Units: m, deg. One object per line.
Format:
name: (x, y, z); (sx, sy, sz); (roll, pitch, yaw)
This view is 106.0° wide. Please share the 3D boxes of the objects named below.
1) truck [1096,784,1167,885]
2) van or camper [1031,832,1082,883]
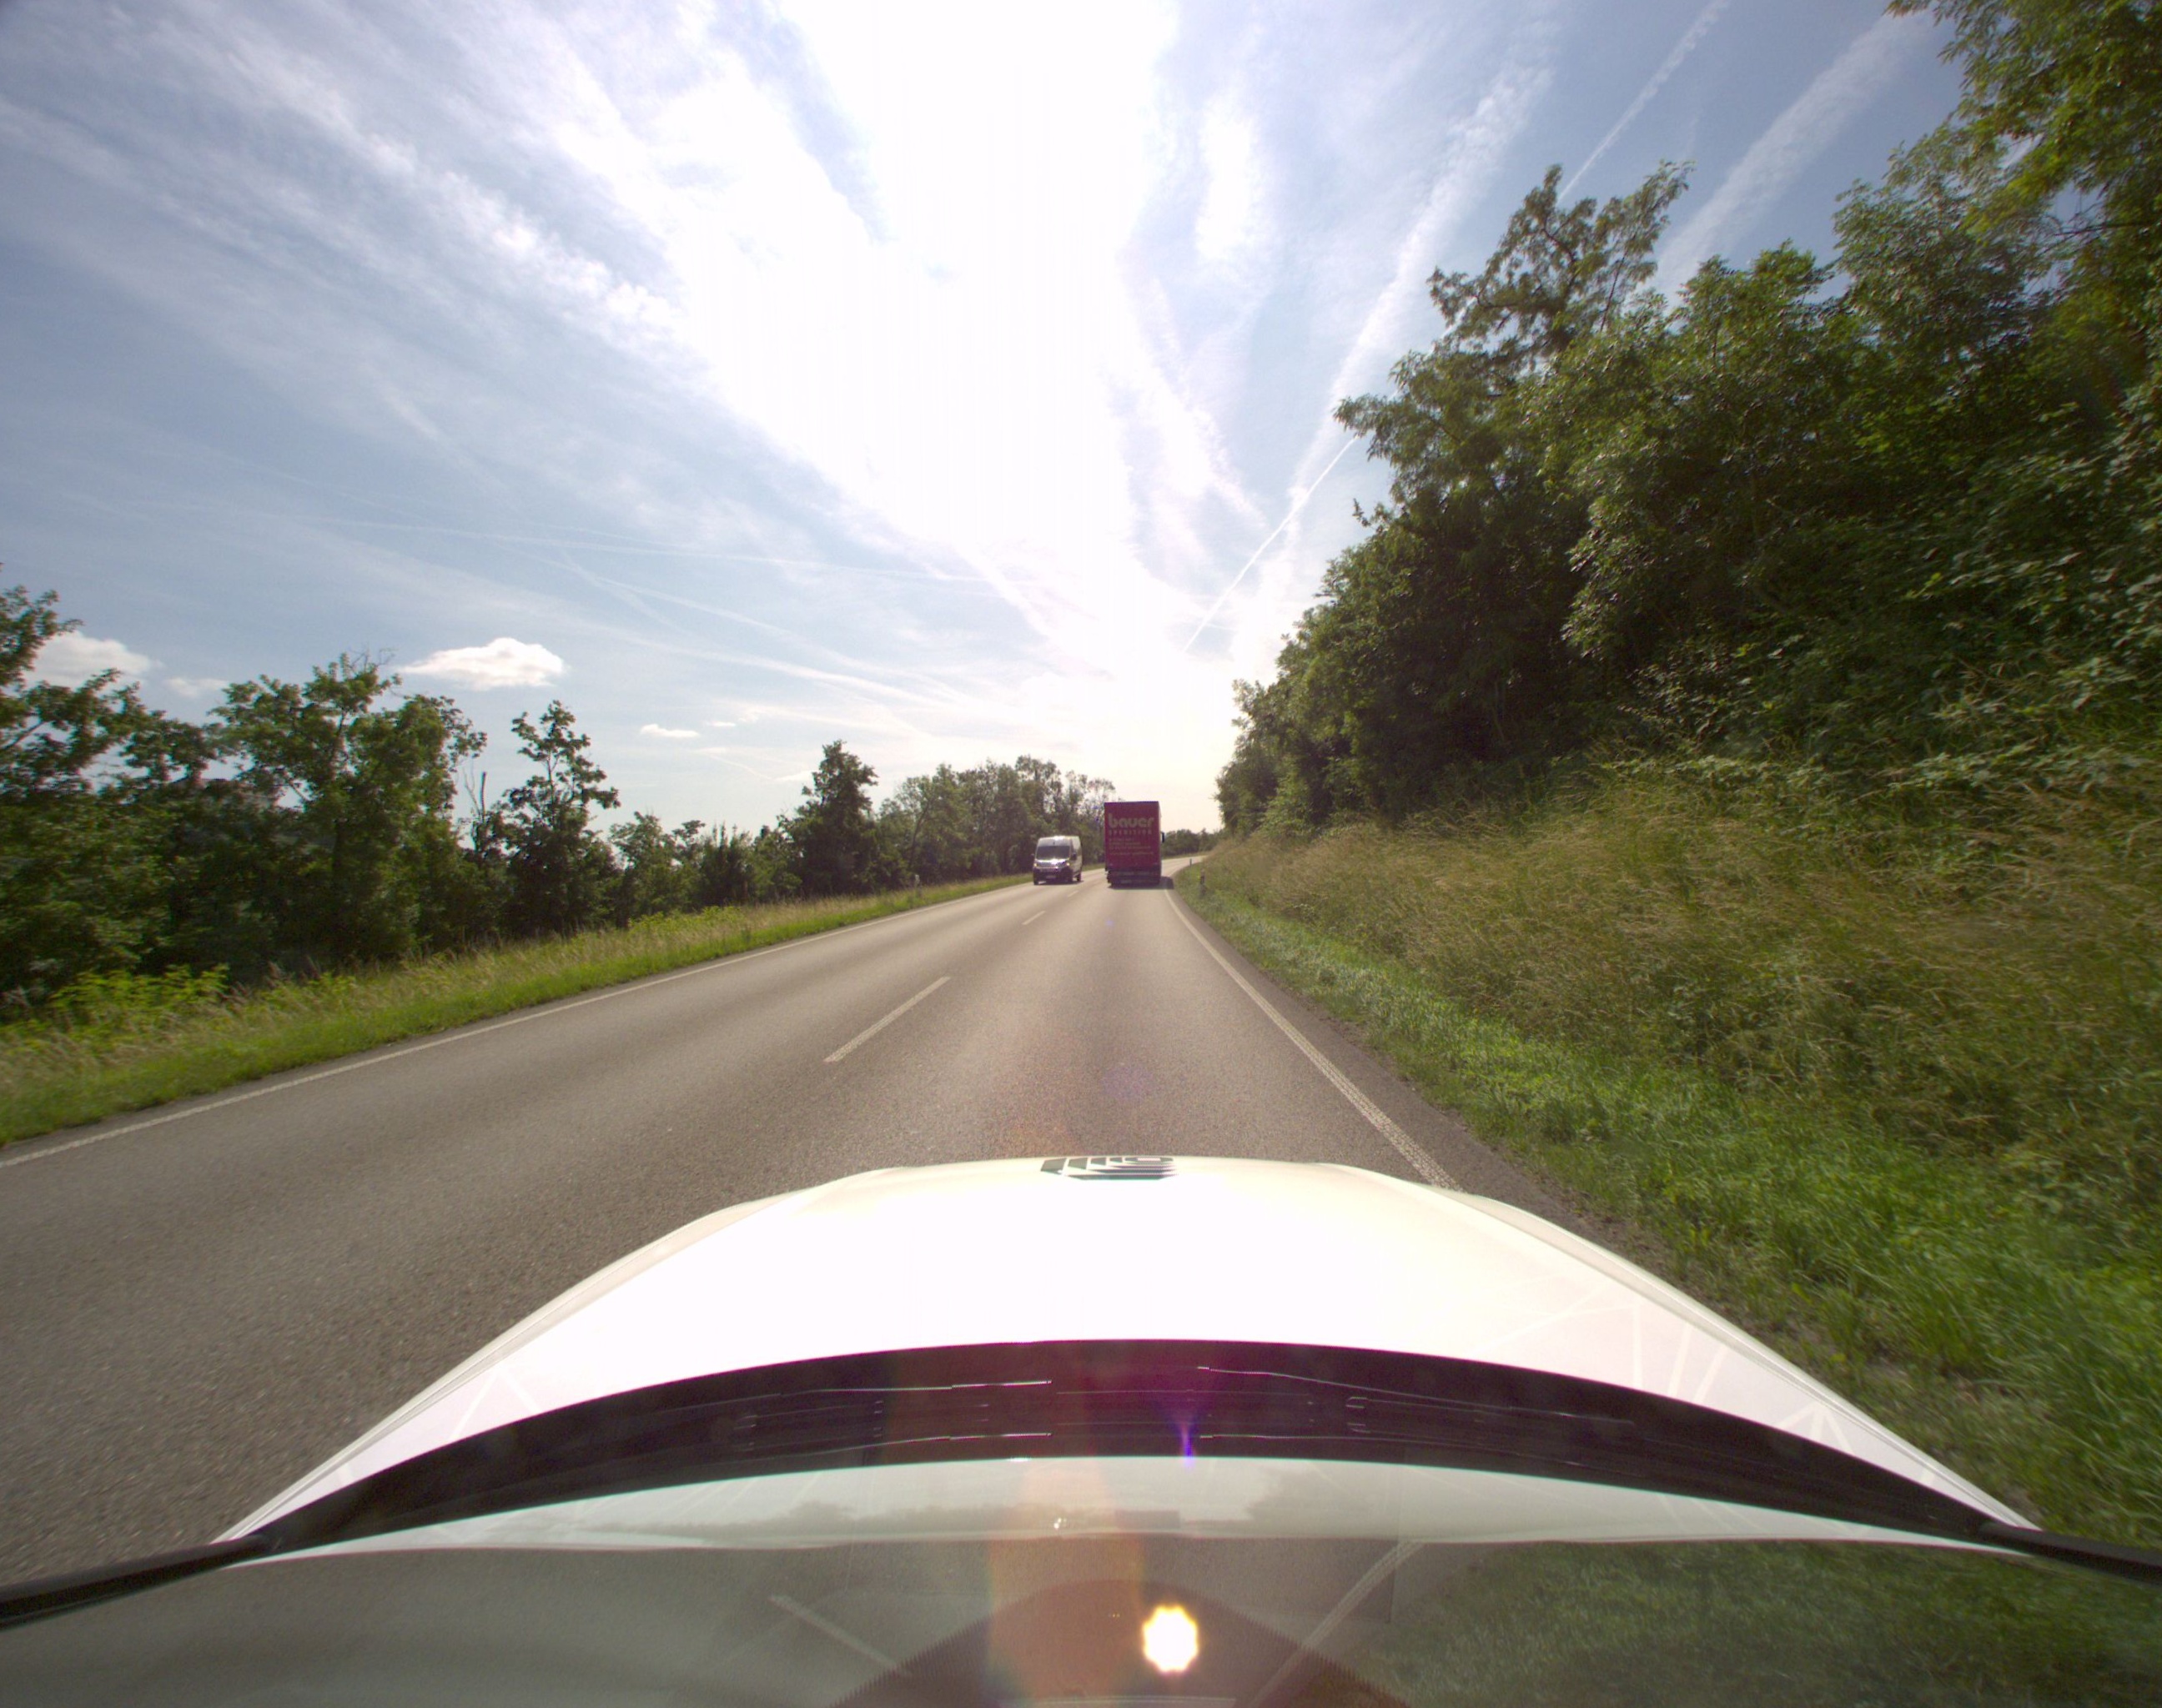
truck: (2.602, -0.899, 43.167); (3.099, 4.506, 12.176); (-1, 0, 3)
van or camper: (-1.249, 0.165, 44.494); (2.199, 2.528, 6.138); (-2, 0, 3)
